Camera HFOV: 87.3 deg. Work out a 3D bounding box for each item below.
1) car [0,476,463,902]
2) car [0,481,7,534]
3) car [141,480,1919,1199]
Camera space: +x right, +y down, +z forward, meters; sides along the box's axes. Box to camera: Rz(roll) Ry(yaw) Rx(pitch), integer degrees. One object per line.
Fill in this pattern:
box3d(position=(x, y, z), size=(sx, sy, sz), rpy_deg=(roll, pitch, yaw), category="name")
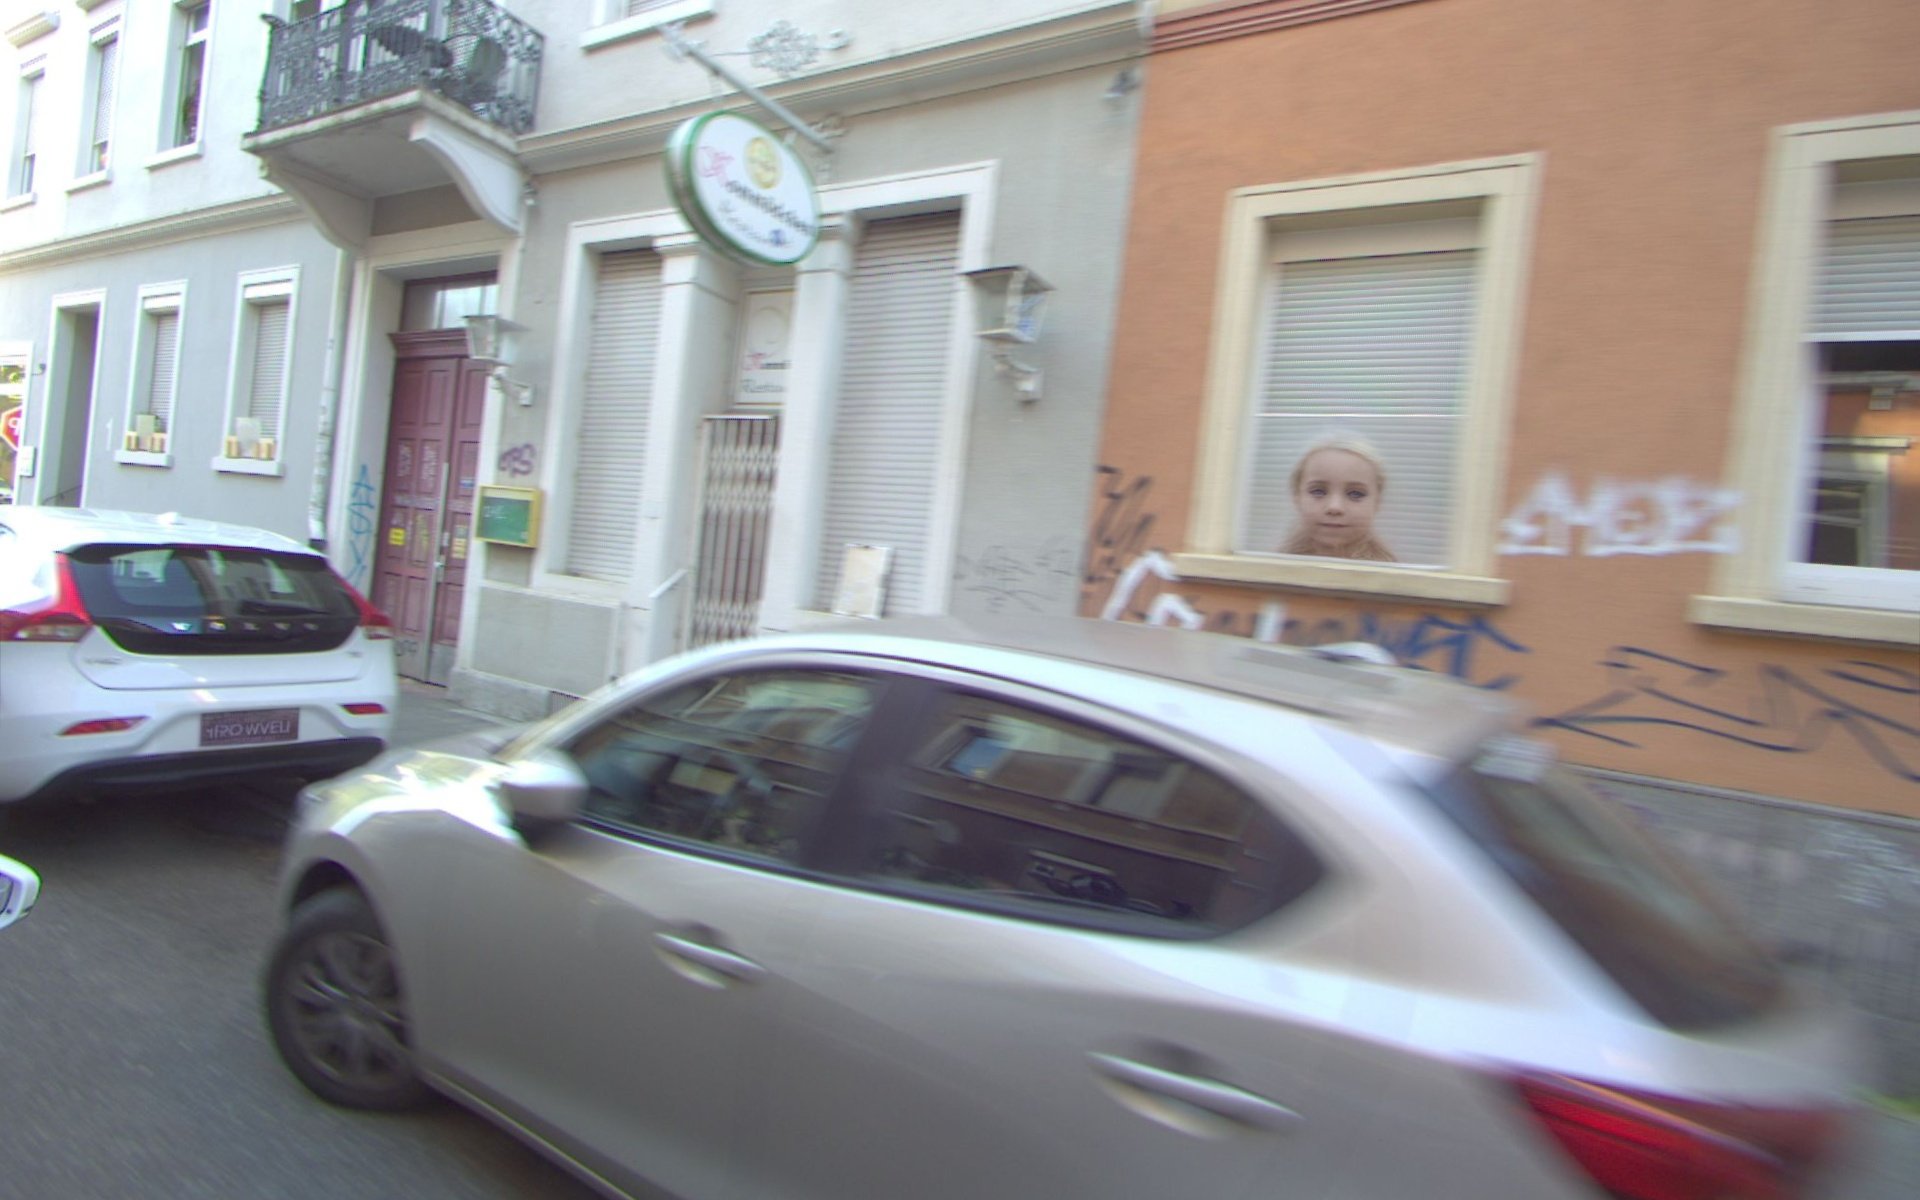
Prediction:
box3d(position=(-4.760, 0.195, 5.355), size=(4.119, 1.528, 1.683), rpy_deg=(7, -1, 31), category="car")
box3d(position=(-10.567, -0.532, 9.146), size=(3.724, 1.605, 1.640), rpy_deg=(7, -1, 30), category="car")
box3d(position=(-0.219, 0.727, 2.608), size=(4.122, 1.616, 1.681), rpy_deg=(7, -2, 34), category="car")
